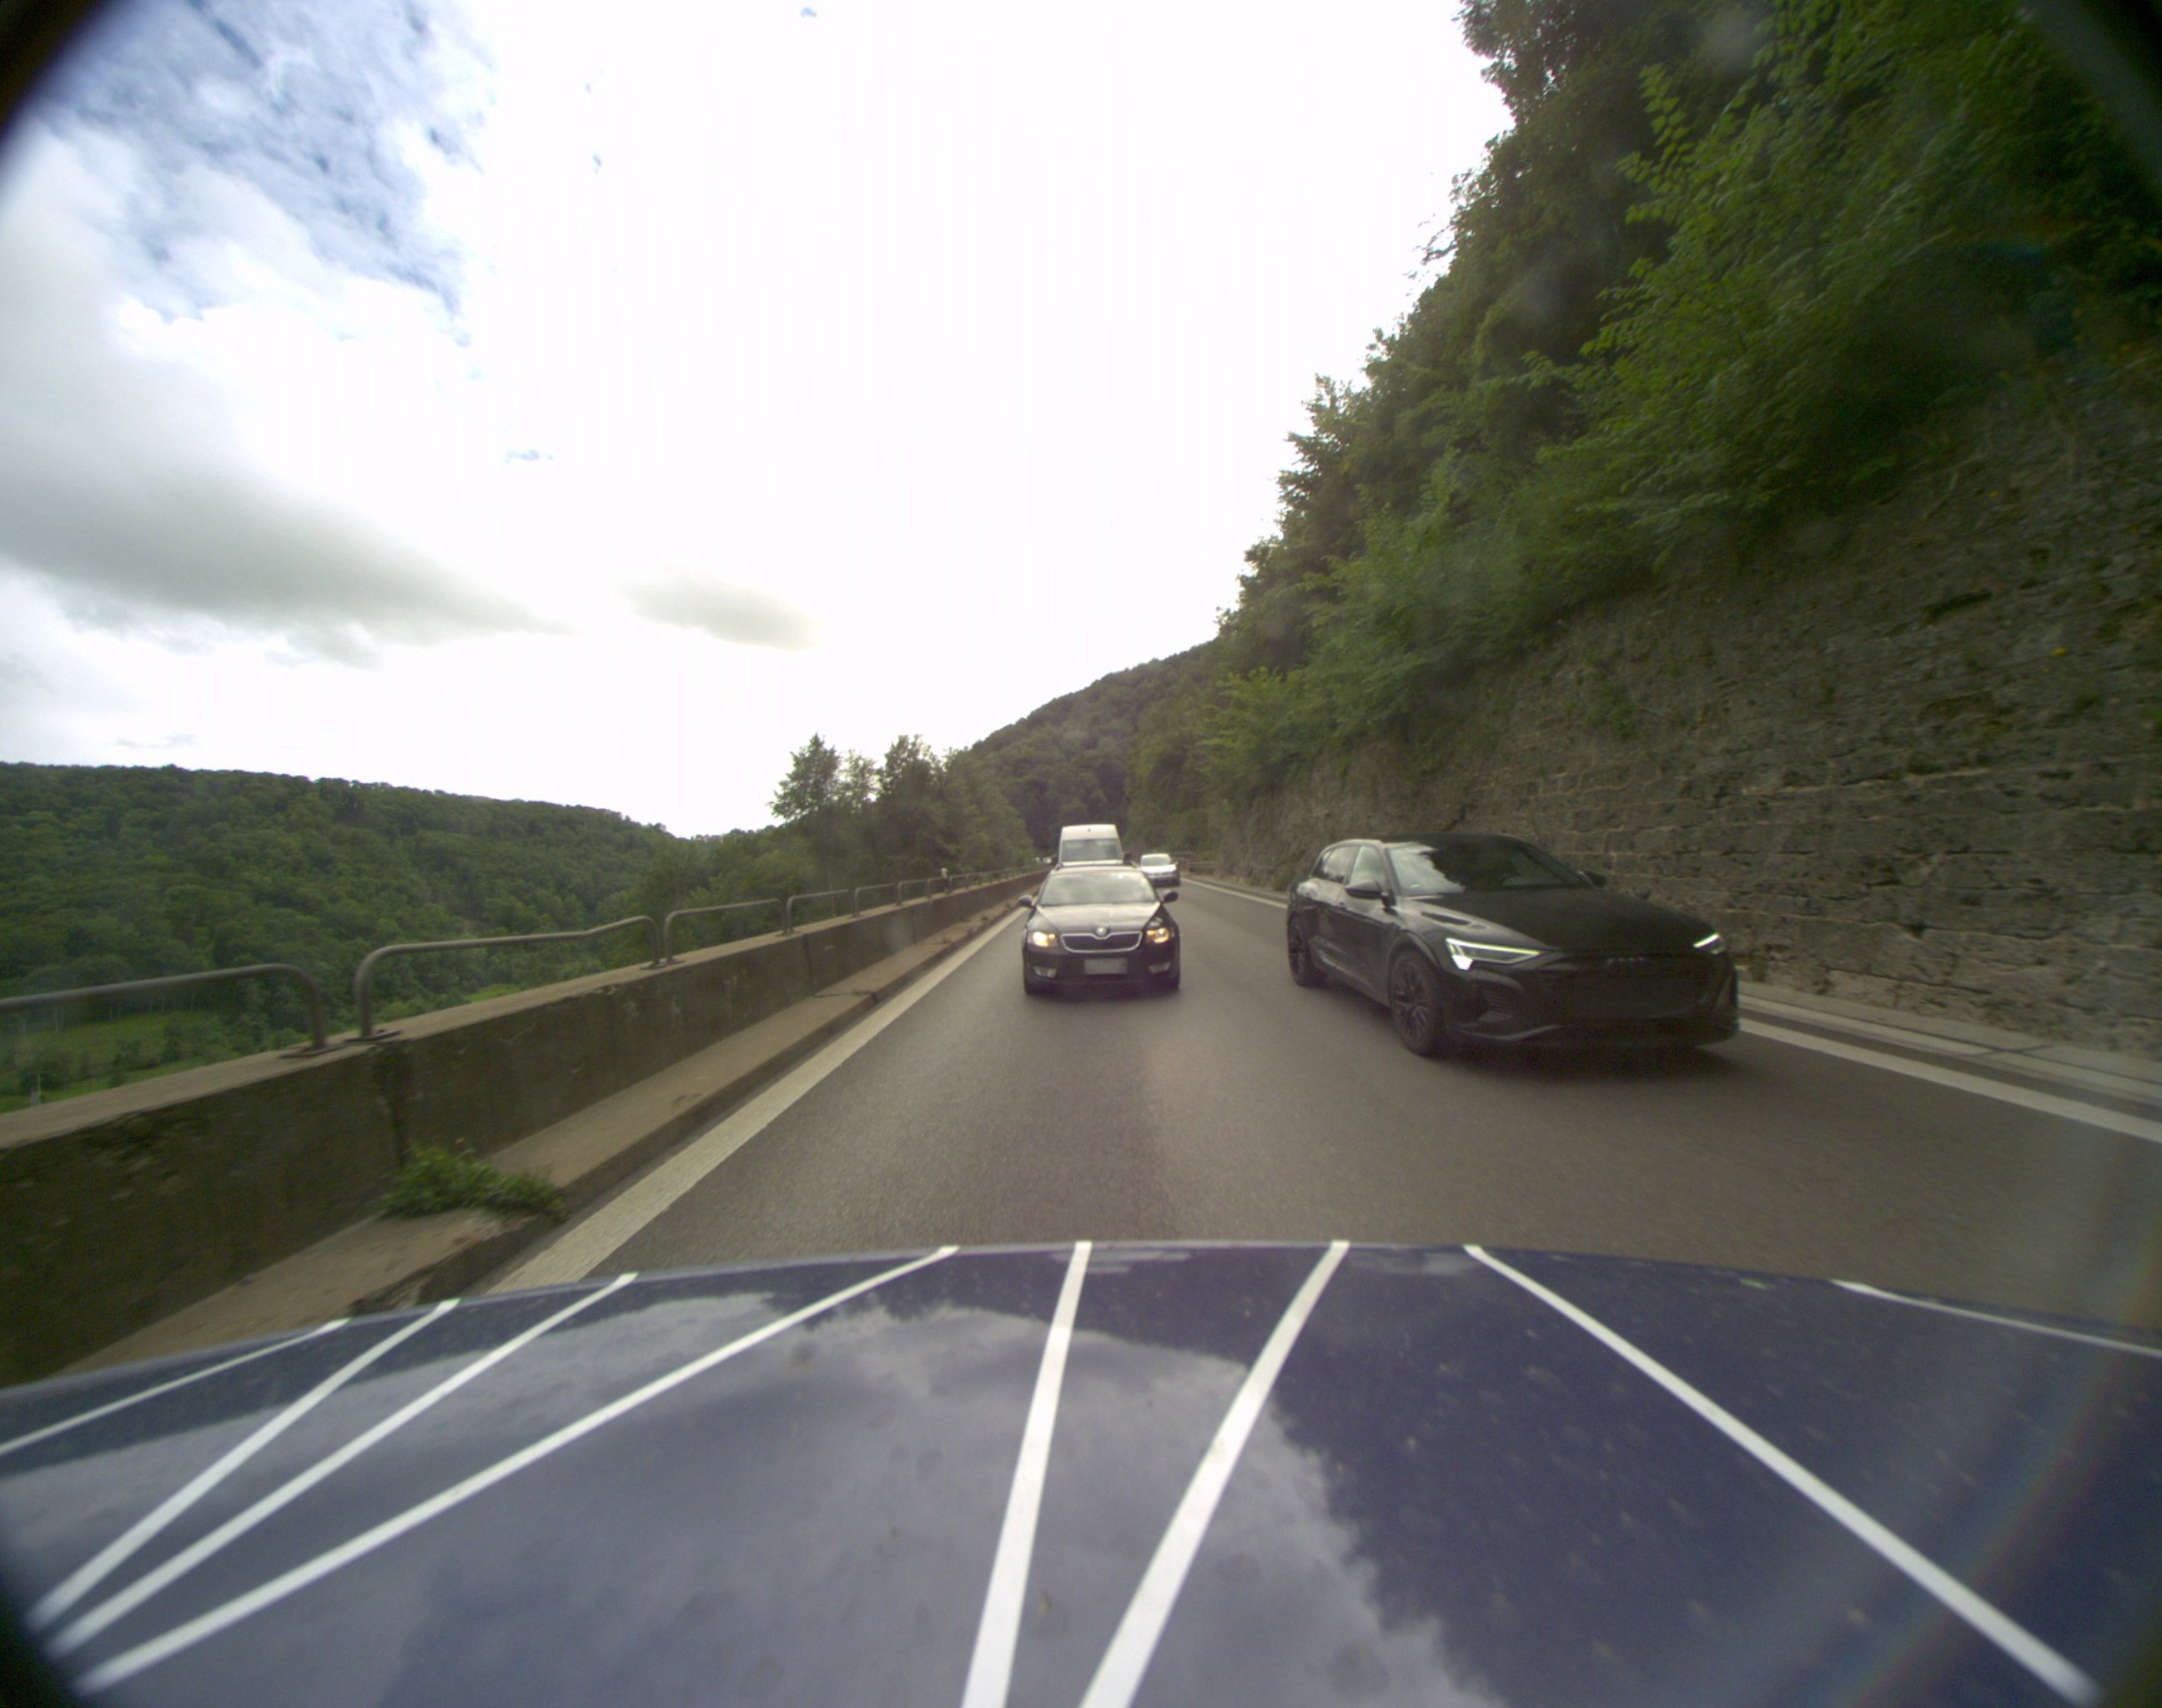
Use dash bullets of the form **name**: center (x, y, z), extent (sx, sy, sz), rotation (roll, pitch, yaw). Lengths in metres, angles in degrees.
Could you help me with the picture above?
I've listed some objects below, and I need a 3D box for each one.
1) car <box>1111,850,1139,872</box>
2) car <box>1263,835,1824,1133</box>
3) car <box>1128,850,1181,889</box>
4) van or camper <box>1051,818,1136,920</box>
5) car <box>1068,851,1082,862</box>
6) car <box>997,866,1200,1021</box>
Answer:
- **car**: center (3.843, 0.562, 66.703), extent (1.813, 1.646, 4.581), rotation (-7, 1, -3)
- **car**: center (3.249, 0.732, 6.849), extent (1.998, 1.622, 5.008), rotation (-3, 0, 1)
- **car**: center (3.268, 0.666, 34.605), extent (1.686, 1.506, 4.582), rotation (-5, 0, -2)
- **van or camper**: center (0.345, 0.407, 23.031), extent (2.081, 2.575, 5.912), rotation (-4, 0, 0)
- **car**: center (-1.278, 0.455, 153.706), extent (2.000, 2.002, 3.996), rotation (-8, 1, -10)
- **car**: center (0.207, 0.953, 10.243), extent (1.998, 1.389, 5.008), rotation (-3, 0, 1)
